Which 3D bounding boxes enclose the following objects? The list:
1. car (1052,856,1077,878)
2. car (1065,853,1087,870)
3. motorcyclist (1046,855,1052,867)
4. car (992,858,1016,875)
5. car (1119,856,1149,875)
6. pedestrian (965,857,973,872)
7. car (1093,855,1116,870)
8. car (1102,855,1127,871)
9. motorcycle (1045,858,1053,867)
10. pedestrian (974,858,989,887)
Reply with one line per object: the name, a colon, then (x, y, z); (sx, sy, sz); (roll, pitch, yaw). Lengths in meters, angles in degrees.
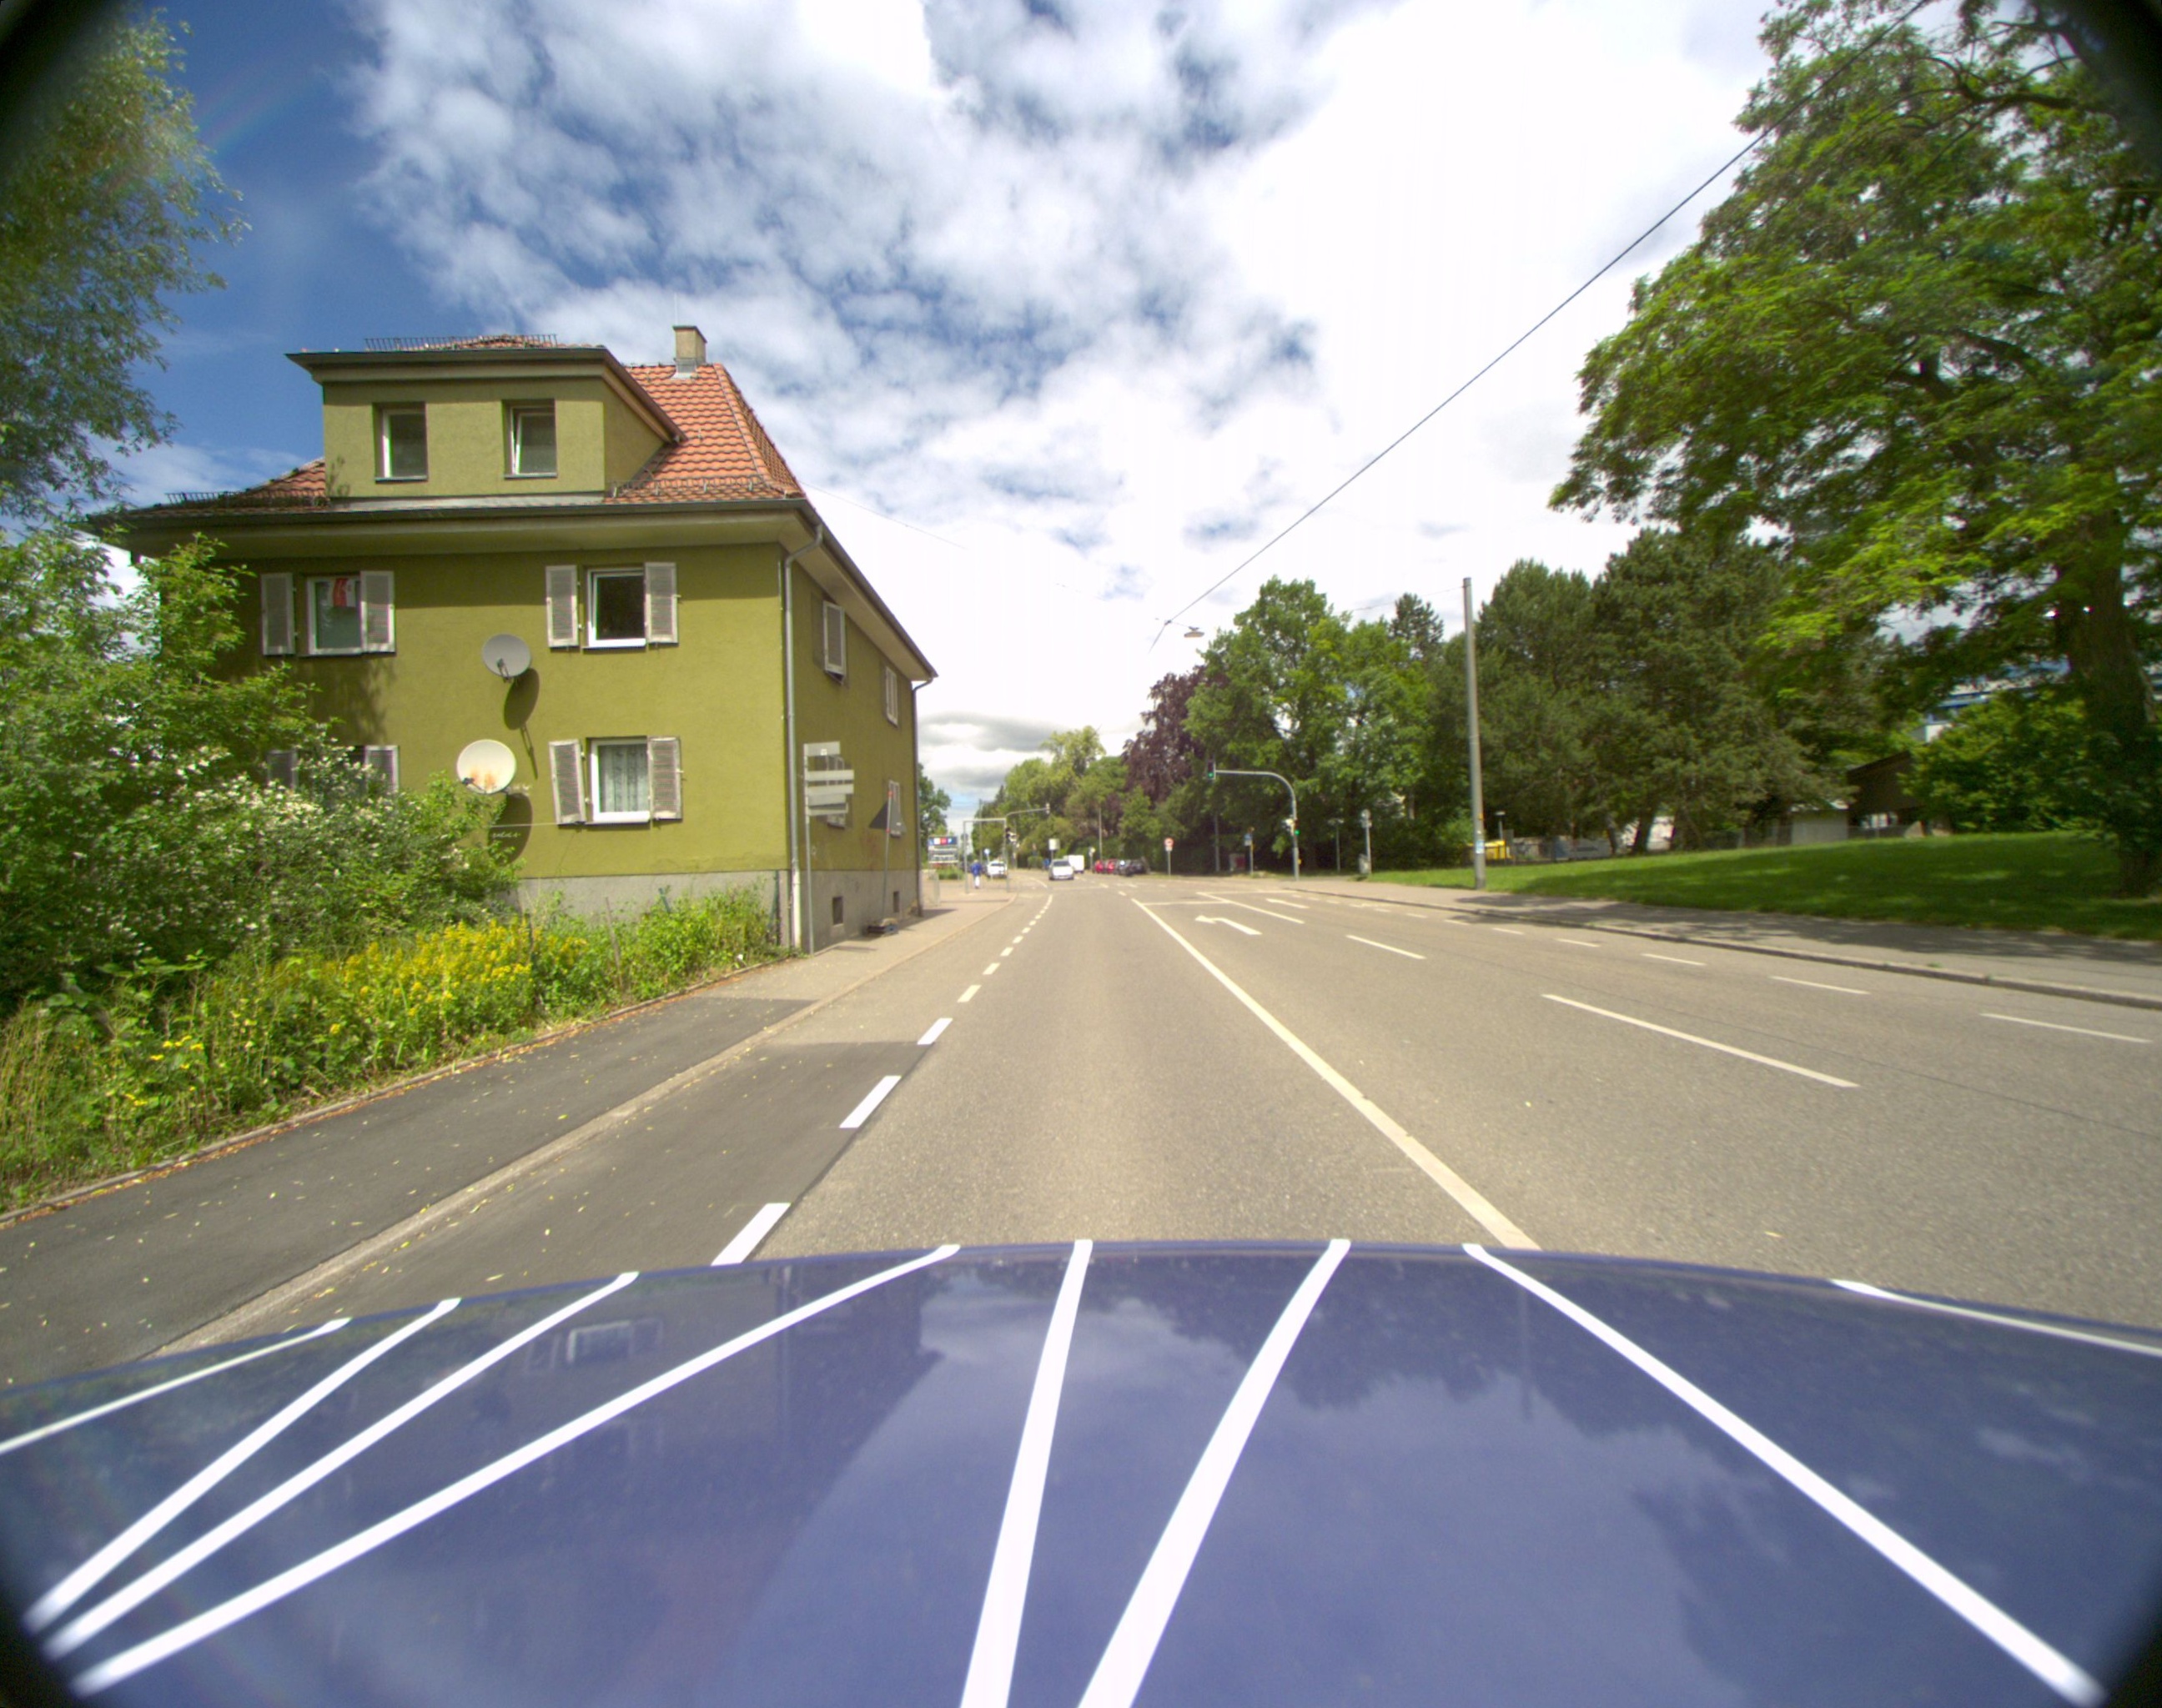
car: (-1.211, 0.984, 58.483); (1.781, 1.519, 3.999); (-3, 0, 0)
car: (-0.555, 0.787, 83.347); (1.800, 1.787, 4.499); (-1, 0, -9)
motorcyclist: (-4.031, 0.856, 95.714); (0.837, 1.547, 0.650); (0, 1, -1)
car: (-6.989, 1.109, 69.038); (1.799, 1.501, 3.999); (-1, 0, -1)
car: (4.688, 0.988, 67.532); (1.900, 1.501, 3.997); (0, 1, -7)
pedestrian: (-13.248, 1.264, 89.972); (0.723, 1.651, 0.777); (-4, 1, -4)
car: (2.471, 0.908, 82.198); (1.900, 1.501, 3.997); (0, 1, -7)
car: (3.350, 0.931, 77.214); (1.900, 1.501, 3.997); (0, 1, -7)
motorcycle: (-4.031, 1.124, 95.734); (0.837, 1.101, 1.800); (0, 0, -1)
pedestrian: (-5.408, 0.987, 41.185); (0.729, 1.543, 1.056); (-2, 0, -10)
